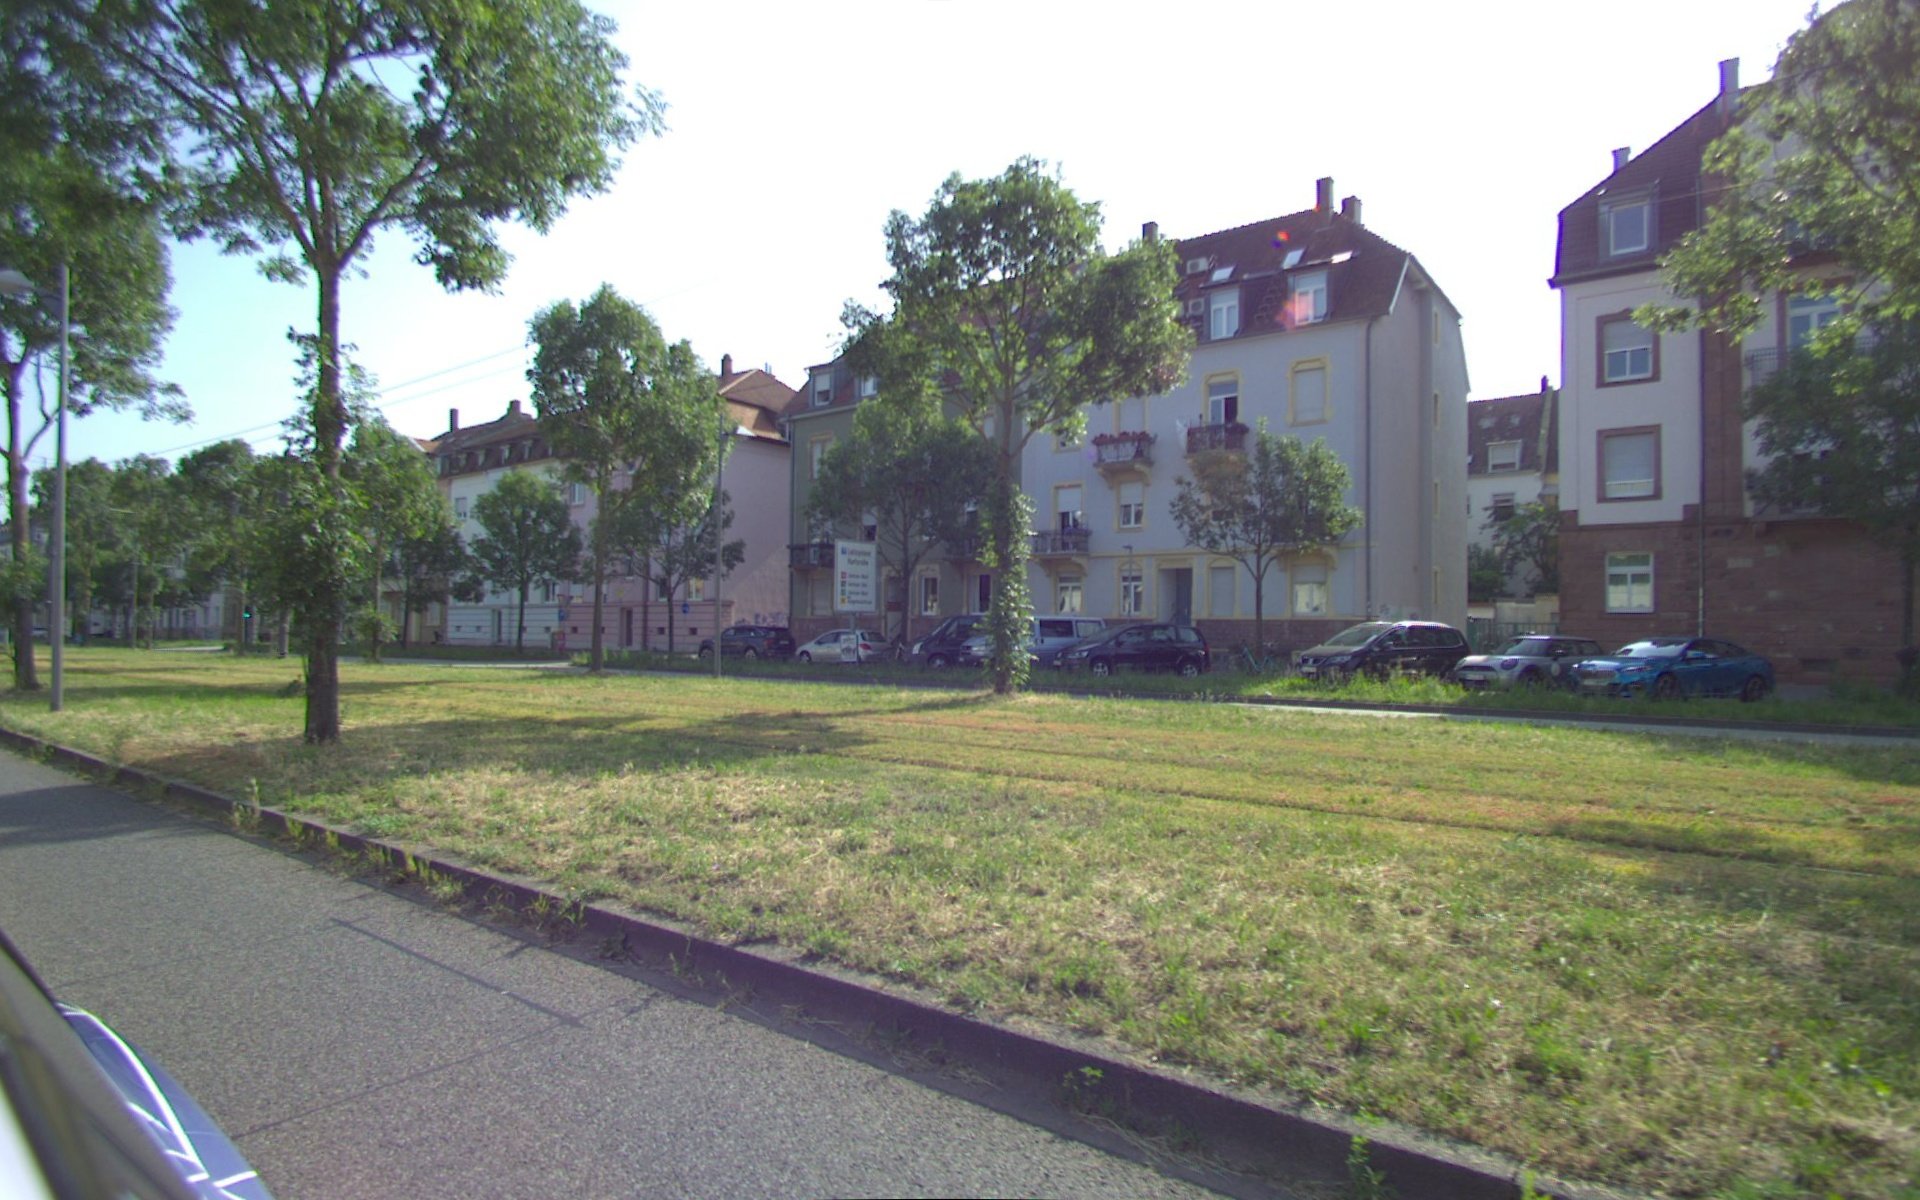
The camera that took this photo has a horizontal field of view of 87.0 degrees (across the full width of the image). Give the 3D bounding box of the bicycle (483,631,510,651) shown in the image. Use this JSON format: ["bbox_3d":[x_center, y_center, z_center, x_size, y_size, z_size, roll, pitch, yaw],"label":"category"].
[{"bbox_3d":[-27.765,2.467,60.585,1.944,1.136,0.598,-1,0,36],"label":"bicycle"}]

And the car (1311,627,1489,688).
[{"bbox_3d":[10.784,1.358,24.848,3.931,1.278,1.644,-1,0,-20],"label":"car"}]

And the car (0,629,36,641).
[{"bbox_3d":[-112.245,4.172,120.033,3.623,1.251,1.667,-1,0,-18],"label":"car"}]

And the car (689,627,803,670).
[{"bbox_3d":[-9.011,1.983,42.410,4.765,1.641,1.976,-1,0,36],"label":"car"}]

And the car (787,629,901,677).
[{"bbox_3d":[-4.465,1.985,38.704,4.148,1.641,1.873,-1,0,37],"label":"car"}]

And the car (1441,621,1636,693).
[{"bbox_3d":[13.107,1.251,22.945,3.931,1.427,1.582,-1,0,-18],"label":"car"}]

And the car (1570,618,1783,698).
[{"bbox_3d":[14.719,1.138,20.795,3.931,1.427,1.582,-1,0,-19],"label":"car"}]

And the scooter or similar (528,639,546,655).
[{"bbox_3d":[-24.177,2.693,57.837,0.596,0.819,1.222,-1,0,-42],"label":"scooter or similar"}]

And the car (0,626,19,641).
[{"bbox_3d":[-122.978,4.307,128.403,4.867,1.739,1.863,-1,0,-18],"label":"car"}]

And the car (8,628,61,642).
[{"bbox_3d":[-101.918,3.866,111.461,3.946,1.326,1.667,-1,0,-18],"label":"car"}]

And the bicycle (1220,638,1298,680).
[{"bbox_3d":[8.078,1.584,27.359,1.990,1.057,0.463,-1,0,24],"label":"bicycle"}]

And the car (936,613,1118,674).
[{"bbox_3d":[2.045,1.278,30.952,5.131,1.635,2.063,-1,0,-22],"label":"car"}]

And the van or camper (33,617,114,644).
[{"bbox_3d":[-91.355,3.072,104.391,5.824,2.593,2.206,-1,0,-18],"label":"van or camper"}]

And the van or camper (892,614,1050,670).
[{"bbox_3d":[0.341,1.318,33.164,4.767,1.635,2.009,-1,0,-18],"label":"van or camper"}]

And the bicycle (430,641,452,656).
[{"bbox_3d":[-33.307,3.098,64.941,1.944,0.863,0.443,-1,0,36],"label":"bicycle"}]

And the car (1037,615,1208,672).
[{"bbox_3d":[4.620,1.207,28.979,4.400,1.430,1.981,-1,0,-16],"label":"car"}]
